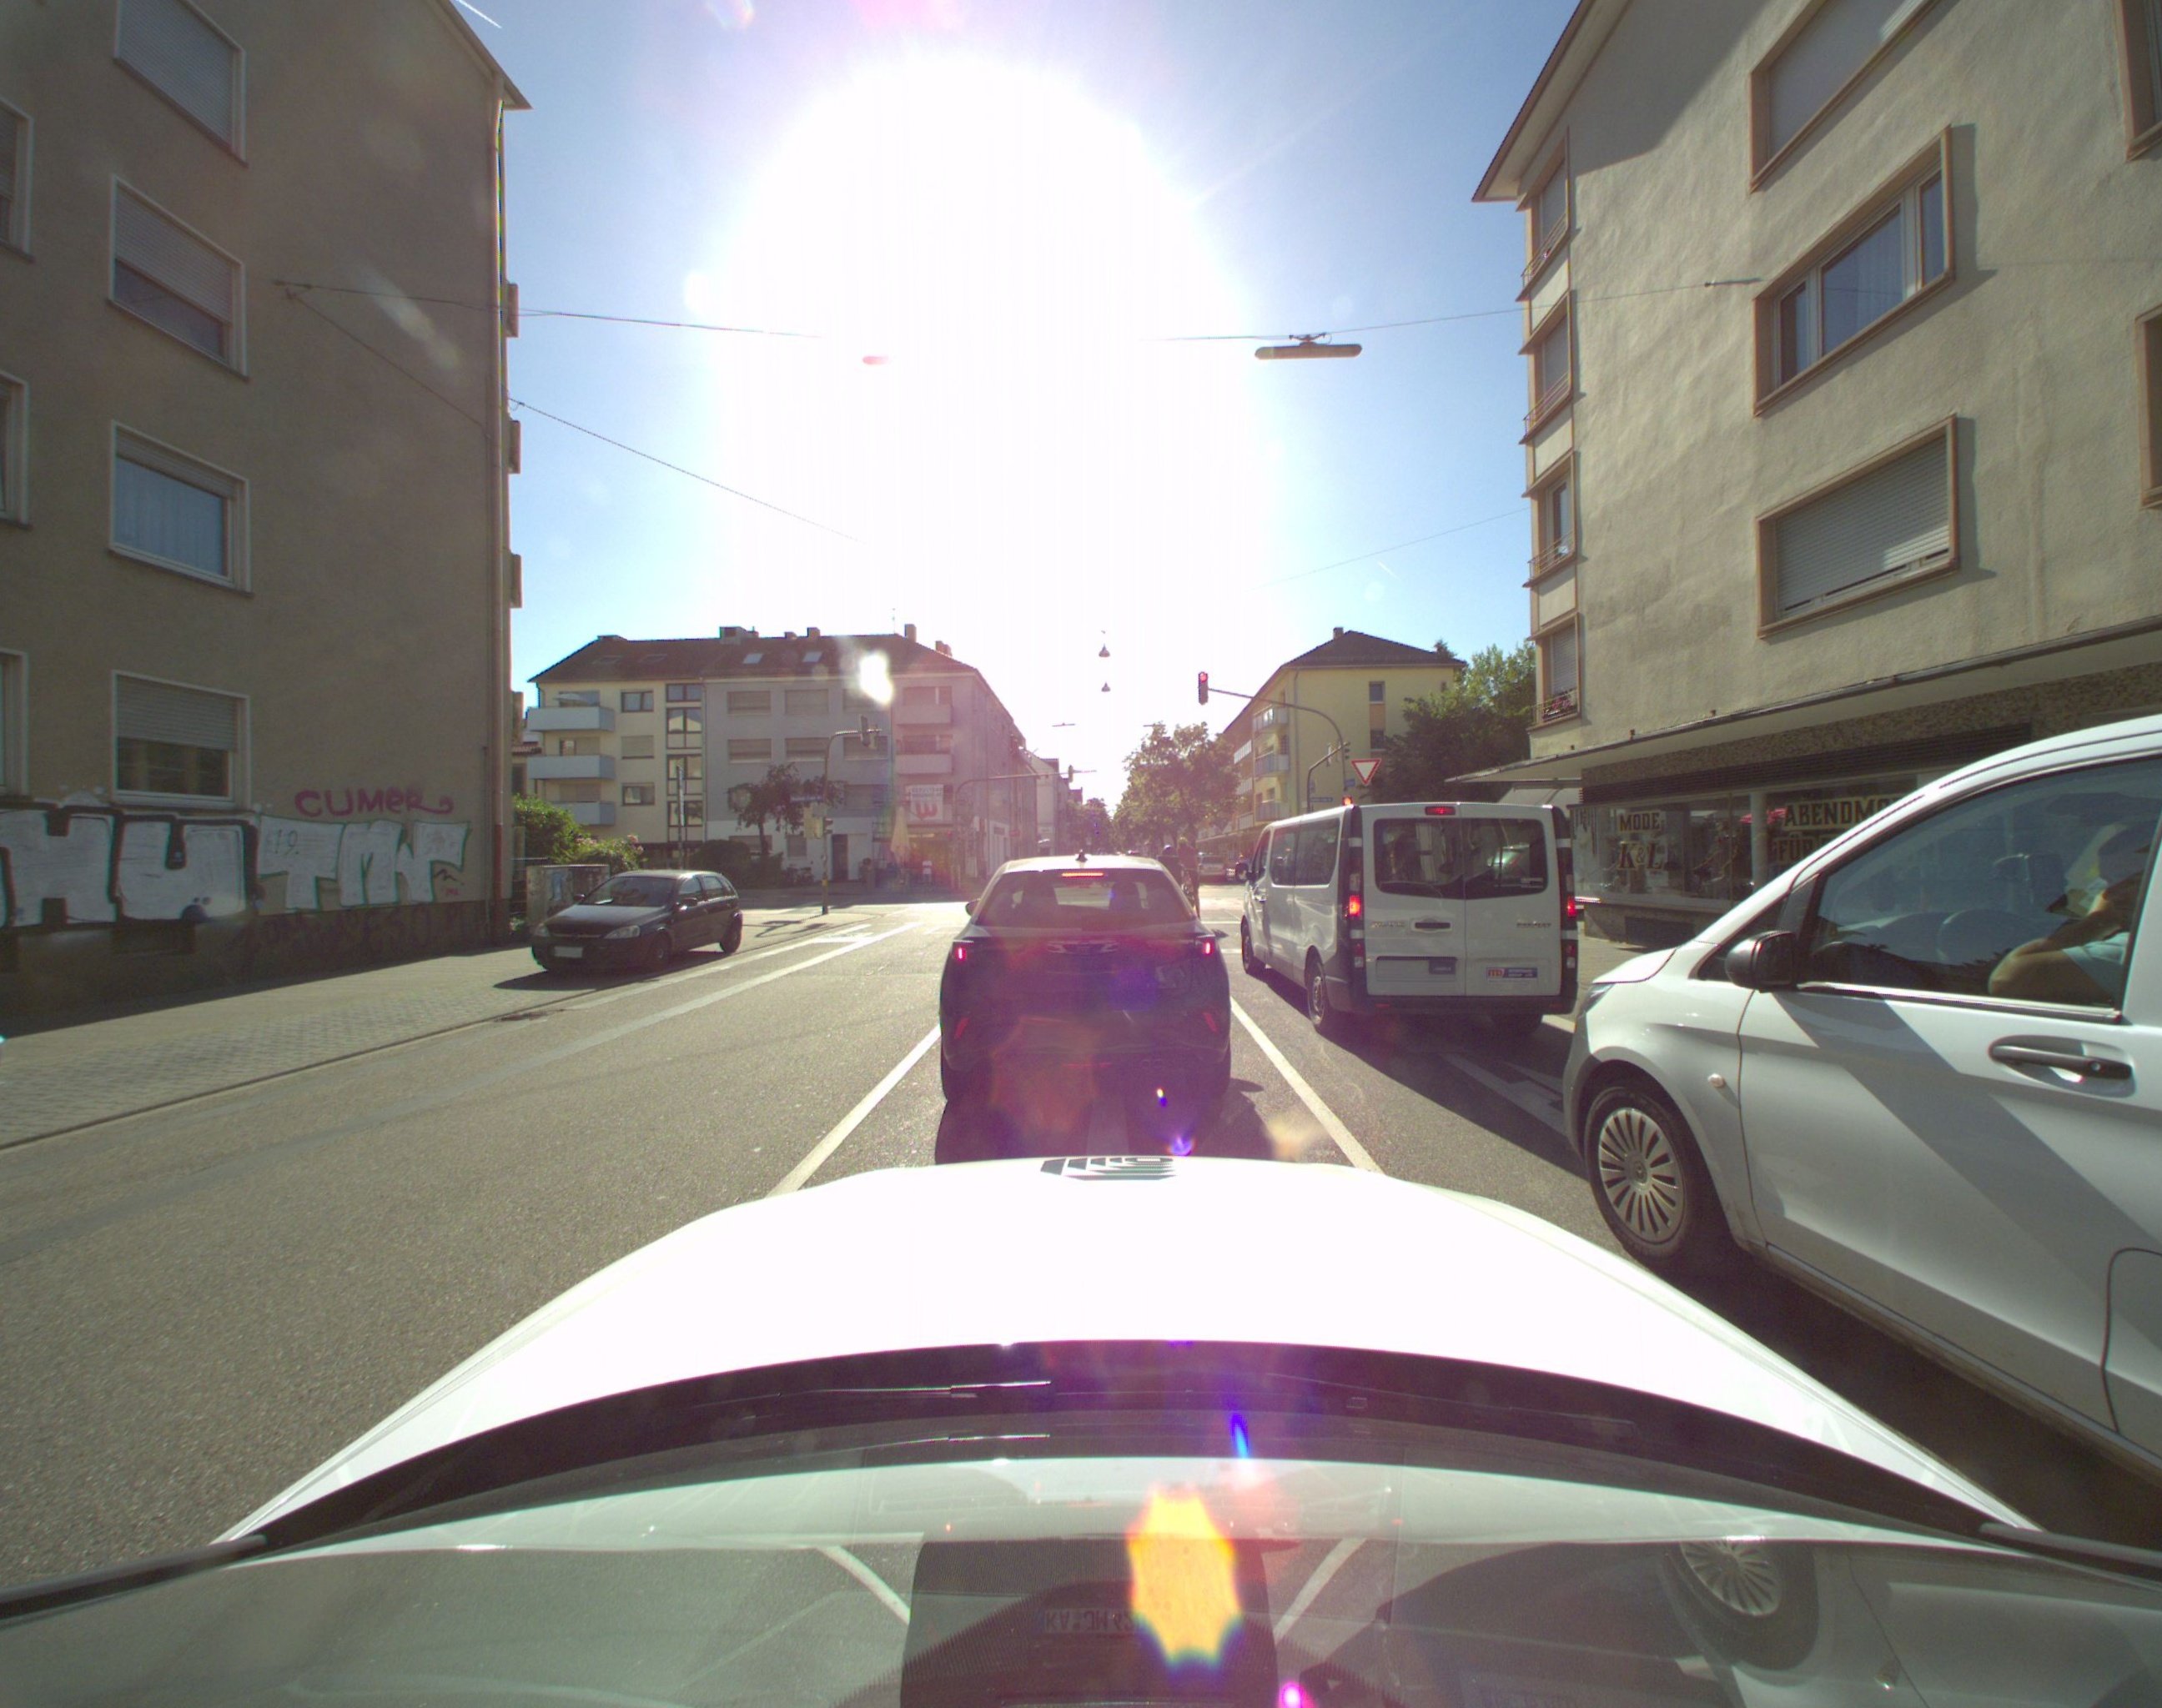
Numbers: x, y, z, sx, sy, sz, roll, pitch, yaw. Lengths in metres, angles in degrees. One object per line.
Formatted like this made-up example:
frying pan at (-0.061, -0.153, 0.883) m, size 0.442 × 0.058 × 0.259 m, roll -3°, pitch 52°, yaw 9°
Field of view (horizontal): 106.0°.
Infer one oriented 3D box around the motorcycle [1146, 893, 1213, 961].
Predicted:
motorcycle at (1.448, 1.064, 12.285) m, size 0.822 × 0.845 × 1.885 m, roll -1°, pitch 0°, yaw 1°

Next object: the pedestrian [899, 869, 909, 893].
pedestrian at (-8.219, 1.233, 37.823) m, size 0.354 × 1.092 × 0.461 m, roll -1°, pitch 0°, yaw -1°

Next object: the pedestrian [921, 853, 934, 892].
pedestrian at (-7.216, 0.865, 38.343) m, size 0.560 × 1.775 × 0.582 m, roll -1°, pitch 0°, yaw -7°

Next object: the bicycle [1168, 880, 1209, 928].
bicycle at (2.326, 1.052, 17.789) m, size 0.575 × 0.904 × 2.301 m, roll -1°, pitch 0°, yaw 0°

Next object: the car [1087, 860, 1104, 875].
car at (1.720, 1.549, 94.911) m, size 1.817 × 1.728 × 4.004 m, roll -1°, pitch 0°, yaw 3°

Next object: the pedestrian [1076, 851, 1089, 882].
pedestrian at (0.090, 0.676, 43.942) m, size 0.678 × 1.606 × 0.762 m, roll -1°, pitch 0°, yaw 0°

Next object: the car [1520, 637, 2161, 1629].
car at (2.942, 0.514, 1.243) m, size 1.830 × 1.869 × 4.995 m, roll -1°, pitch 0°, yaw 0°

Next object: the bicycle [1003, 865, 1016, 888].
bicycle at (-3.874, 1.214, 44.238) m, size 0.520 × 1.147 × 2.283 m, roll -1°, pitch 0°, yaw 0°

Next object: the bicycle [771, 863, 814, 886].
bicycle at (-15.326, 1.080, 43.250) m, size 2.103 × 1.172 × 0.735 m, roll -1°, pitch 0°, yaw -22°

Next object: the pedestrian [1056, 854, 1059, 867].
pedestrian at (-3.014, 0.805, 104.793) m, size 0.400 × 1.675 × 0.418 m, roll -1°, pitch 0°, yaw 1°

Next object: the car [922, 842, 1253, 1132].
car at (0.041, 0.716, 6.397) m, size 1.765 × 1.530 × 3.999 m, roll -1°, pitch 0°, yaw 0°

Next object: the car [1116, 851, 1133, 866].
car at (5.026, 0.531, 94.962) m, size 1.894 × 1.728 × 4.003 m, roll -1°, pitch 0°, yaw 2°

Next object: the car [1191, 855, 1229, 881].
car at (7.432, 0.770, 47.244) m, size 1.628 × 1.433 × 3.958 m, roll -1°, pitch 0°, yaw 2°

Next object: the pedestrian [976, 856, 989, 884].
pedestrian at (-5.370, 0.869, 44.407) m, size 0.615 × 1.521 × 0.724 m, roll -1°, pitch 0°, yaw -1°

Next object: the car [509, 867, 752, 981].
car at (-6.790, 0.965, 12.775) m, size 1.610 × 1.425 × 3.711 m, roll 2°, pitch 0°, yaw 1°

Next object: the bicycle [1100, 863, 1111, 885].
bicycle at (1.311, 1.042, 43.564) m, size 0.520 × 1.147 × 2.170 m, roll -1°, pitch 0°, yaw 0°

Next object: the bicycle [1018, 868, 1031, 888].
bicycle at (-3.058, 1.276, 44.092) m, size 0.520 × 0.992 × 2.339 m, roll -1°, pitch 0°, yaw 0°

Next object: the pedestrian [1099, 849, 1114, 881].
pedestrian at (1.360, 0.578, 43.494) m, size 0.704 × 1.701 × 0.802 m, roll -1°, pitch 0°, yaw 0°

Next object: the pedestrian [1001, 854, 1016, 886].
pedestrian at (-3.929, 0.860, 43.915) m, size 0.704 × 1.678 × 0.802 m, roll -1°, pitch 0°, yaw 0°

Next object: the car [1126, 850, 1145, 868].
car at (5.637, 0.505, 85.069) m, size 1.894 × 1.728 × 4.076 m, roll -1°, pitch 0°, yaw 3°

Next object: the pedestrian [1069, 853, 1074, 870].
pedestrian at (-0.951, 0.767, 84.648) m, size 0.486 × 1.690 × 0.588 m, roll -1°, pitch 0°, yaw 1°

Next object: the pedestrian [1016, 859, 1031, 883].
pedestrian at (-3.094, 0.926, 43.786) m, size 0.704 × 1.253 × 0.802 m, roll -1°, pitch 0°, yaw 0°

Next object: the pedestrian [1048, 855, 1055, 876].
pedestrian at (-2.448, 0.960, 67.444) m, size 0.568 × 1.690 × 0.588 m, roll -1°, pitch 0°, yaw 1°

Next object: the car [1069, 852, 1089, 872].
car at (-0.157, 0.815, 82.883) m, size 1.848 × 2.013 × 3.882 m, roll -1°, pitch 0°, yaw 2°

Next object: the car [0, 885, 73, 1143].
car at (-7.108, 0.912, 2.584) m, size 1.711 × 1.465 × 4.817 m, roll 1°, pitch 0°, yaw 1°

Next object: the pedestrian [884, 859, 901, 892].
pedestrian at (-8.740, 1.002, 37.779) m, size 0.582 × 1.521 × 0.649 m, roll -1°, pitch 0°, yaw -1°

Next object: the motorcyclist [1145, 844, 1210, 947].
motorcyclist at (1.460, 0.609, 12.509) m, size 0.861 × 1.502 × 1.160 m, roll -1°, pitch 0°, yaw 1°

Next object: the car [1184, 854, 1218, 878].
car at (7.610, 0.750, 51.862) m, size 1.628 × 1.433 × 4.002 m, roll -1°, pitch 0°, yaw 2°

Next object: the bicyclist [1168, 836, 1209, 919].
bicyclist at (2.304, 0.485, 17.618) m, size 0.687 × 1.712 × 1.414 m, roll -1°, pitch 0°, yaw 0°

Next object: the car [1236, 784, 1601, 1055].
car at (2.983, 0.484, 8.531) m, size 1.985 × 1.979 × 4.899 m, roll 1°, pitch 0°, yaw 3°

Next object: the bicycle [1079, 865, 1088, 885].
bicycle at (0.129, 1.117, 44.108) m, size 0.442 × 0.992 × 2.068 m, roll -1°, pitch 0°, yaw 0°
